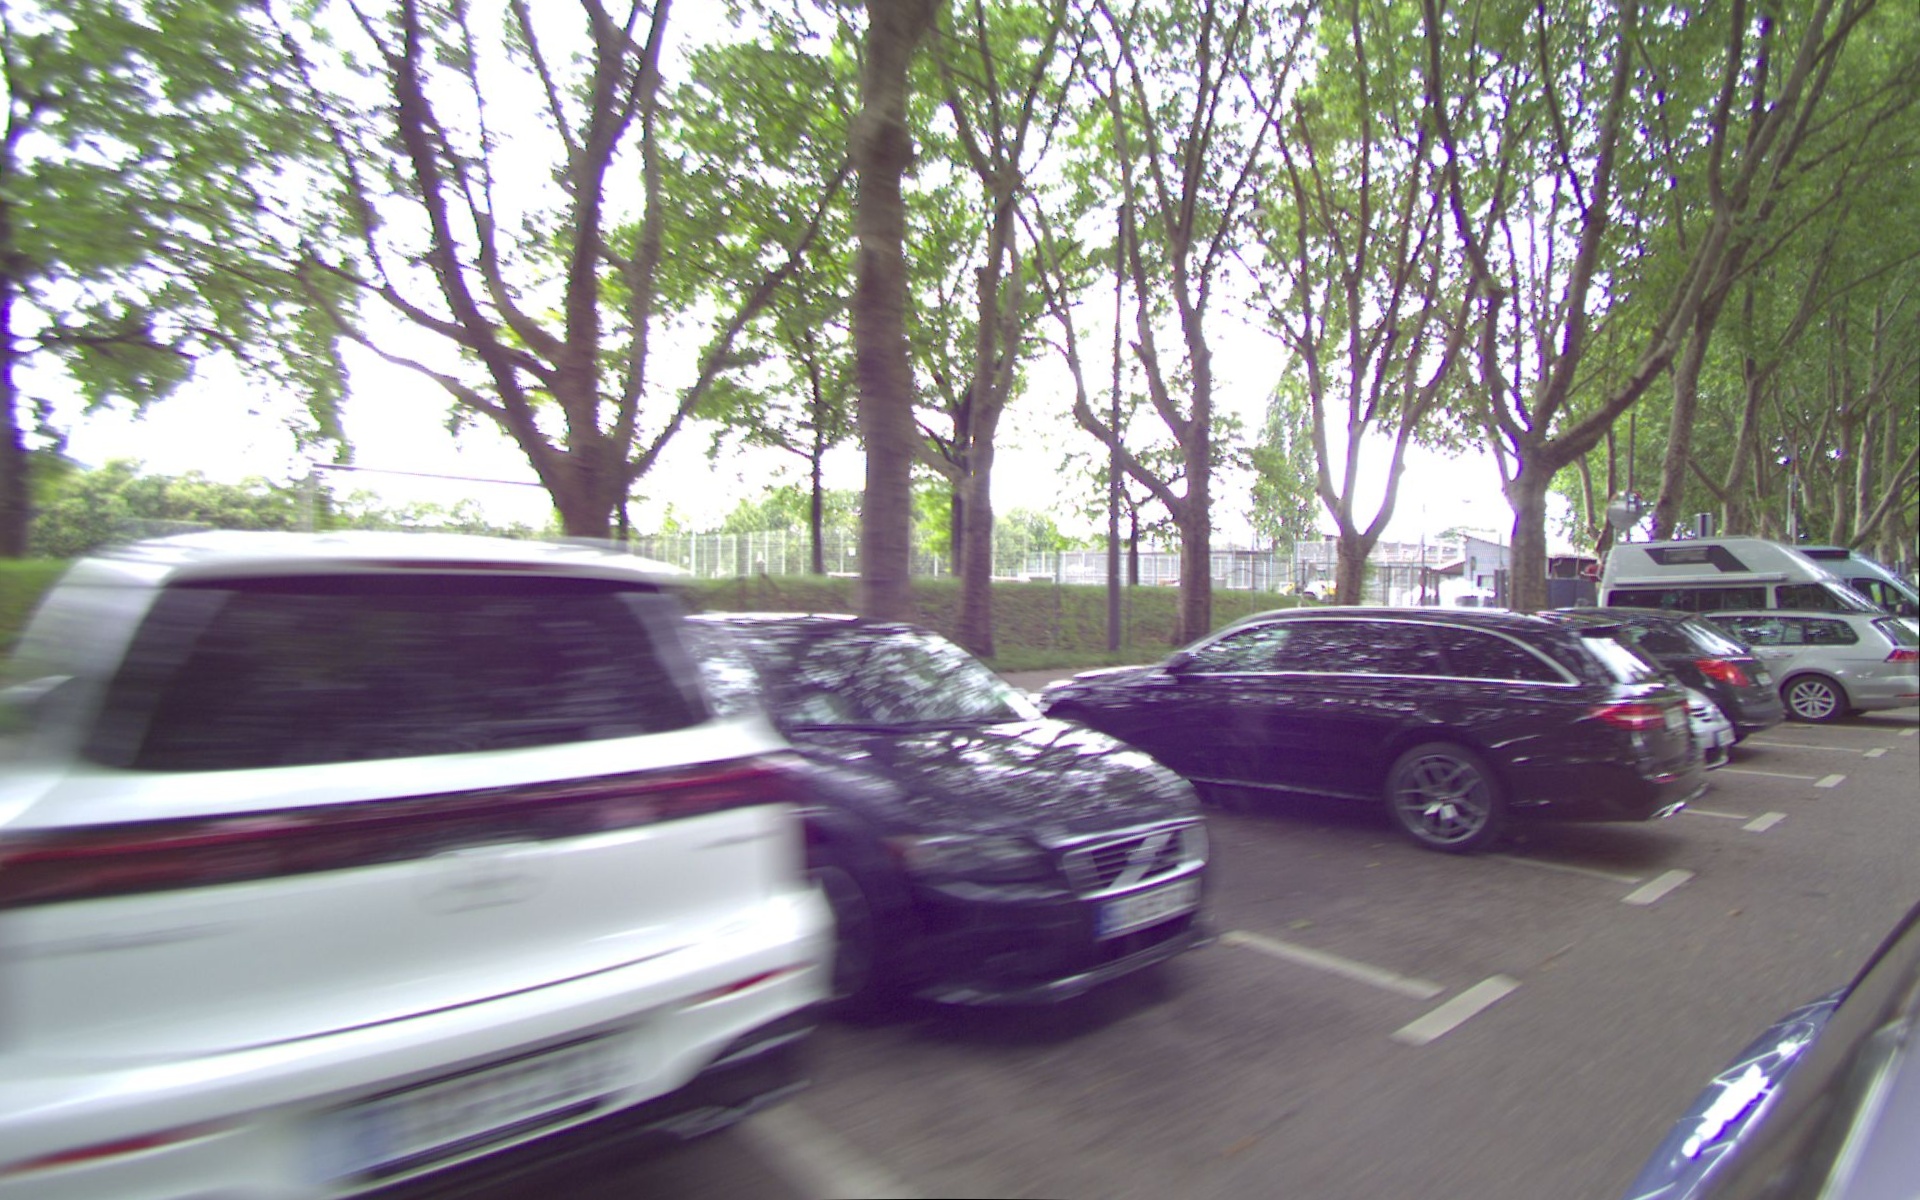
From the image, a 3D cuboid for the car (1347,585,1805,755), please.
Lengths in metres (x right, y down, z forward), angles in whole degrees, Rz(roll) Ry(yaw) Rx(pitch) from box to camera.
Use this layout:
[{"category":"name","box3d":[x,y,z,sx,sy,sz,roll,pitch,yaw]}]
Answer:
[{"category":"car","box3d":[6.685,0.636,11.328,1.783,1.545,4.050,0,0,-42]}]

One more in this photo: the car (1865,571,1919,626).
[{"category":"car","box3d":[49.283,-0.095,49.880,6.874,2.729,2.096,0,0,41]}]

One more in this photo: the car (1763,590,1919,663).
[{"category":"car","box3d":[21.924,0.597,23.860,1.770,1.639,4.351,0,-1,-37]}]

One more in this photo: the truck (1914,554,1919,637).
[{"category":"truck","box3d":[35.110,-0.153,35.185,2.456,2.975,7.427,0,0,41]}]

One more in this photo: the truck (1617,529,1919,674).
[{"category":"truck","box3d":[17.805,0.023,21.346,2.060,2.749,6.308,0,0,-38]}]

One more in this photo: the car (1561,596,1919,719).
[{"category":"car","box3d":[10.877,0.730,13.917,1.672,1.447,4.128,-1,-2,-38]}]

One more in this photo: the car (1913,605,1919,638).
[{"category":"car","box3d":[40.636,0.870,39.859,1.669,1.318,4.329,0,0,-39]}]

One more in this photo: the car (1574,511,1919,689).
[{"category":"car","box3d":[14.049,0.023,17.776,1.922,2.723,5.239,0,-1,-39]}]

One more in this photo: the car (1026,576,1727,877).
[{"category":"car","box3d":[2.677,0.652,7.457,1.674,1.545,4.508,0,0,-42]}]

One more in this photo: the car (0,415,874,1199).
[{"category":"car","box3d":[-2.139,0.624,3.617,1.766,1.777,4.399,0,0,-34]}]

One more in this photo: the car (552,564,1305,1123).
[{"category":"car","box3d":[-0.596,0.684,5.050,1.669,1.577,4.197,0,0,-37]}]
